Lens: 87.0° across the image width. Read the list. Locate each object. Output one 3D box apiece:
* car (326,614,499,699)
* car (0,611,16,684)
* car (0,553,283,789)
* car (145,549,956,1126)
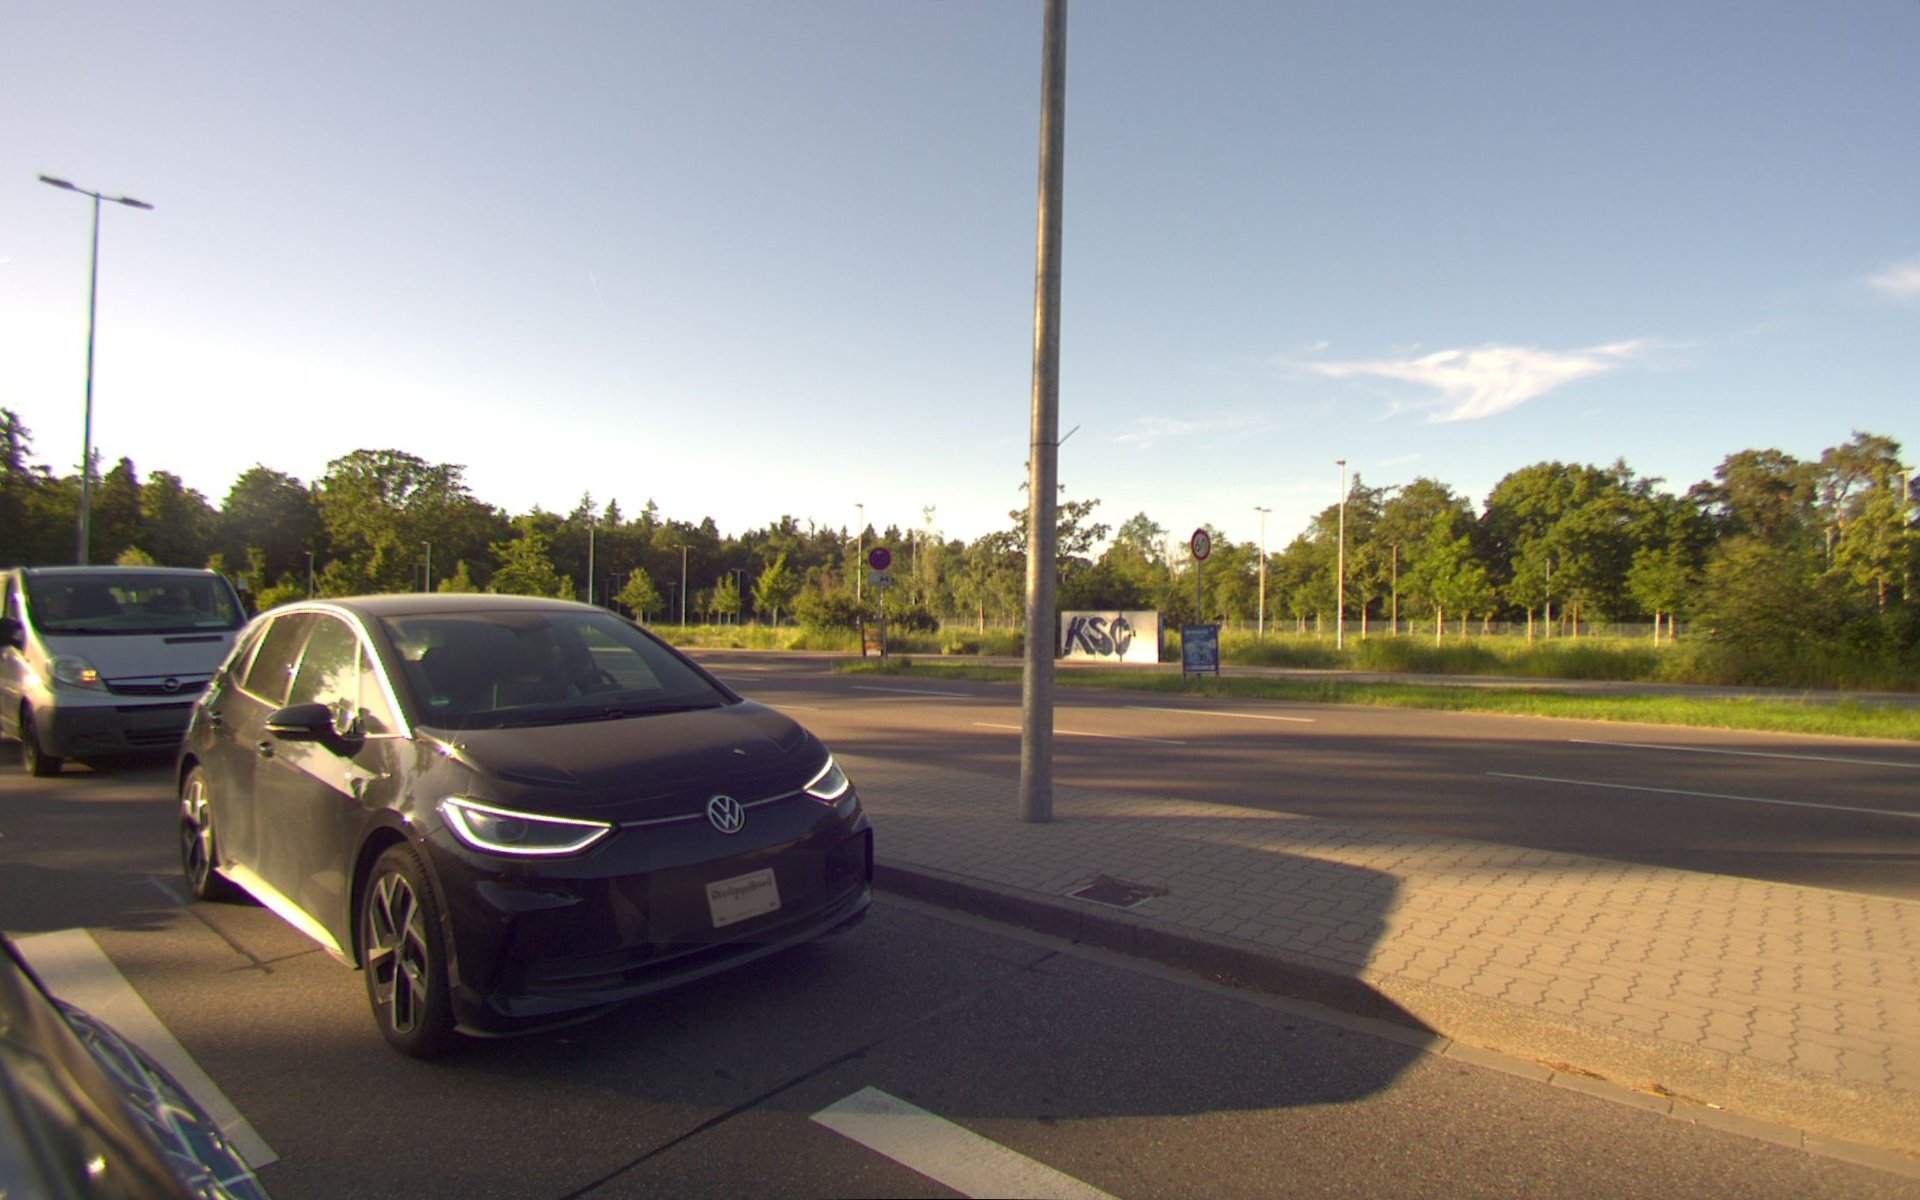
[{"bbox_3d":[-10.450,0.996,19.214,3.840,1.406,1.584,0,0,40],"label":"car"},{"bbox_3d":[-22.788,1.073,22.637,5.044,1.535,1.859,-2,0,40],"label":"car"},{"bbox_3d":[-9.164,0.634,10.825,5.044,1.977,1.859,-2,0,40],"label":"car"},{"bbox_3d":[-2.139,0.637,4.722,3.997,1.548,1.859,0,0,40],"label":"car"}]
